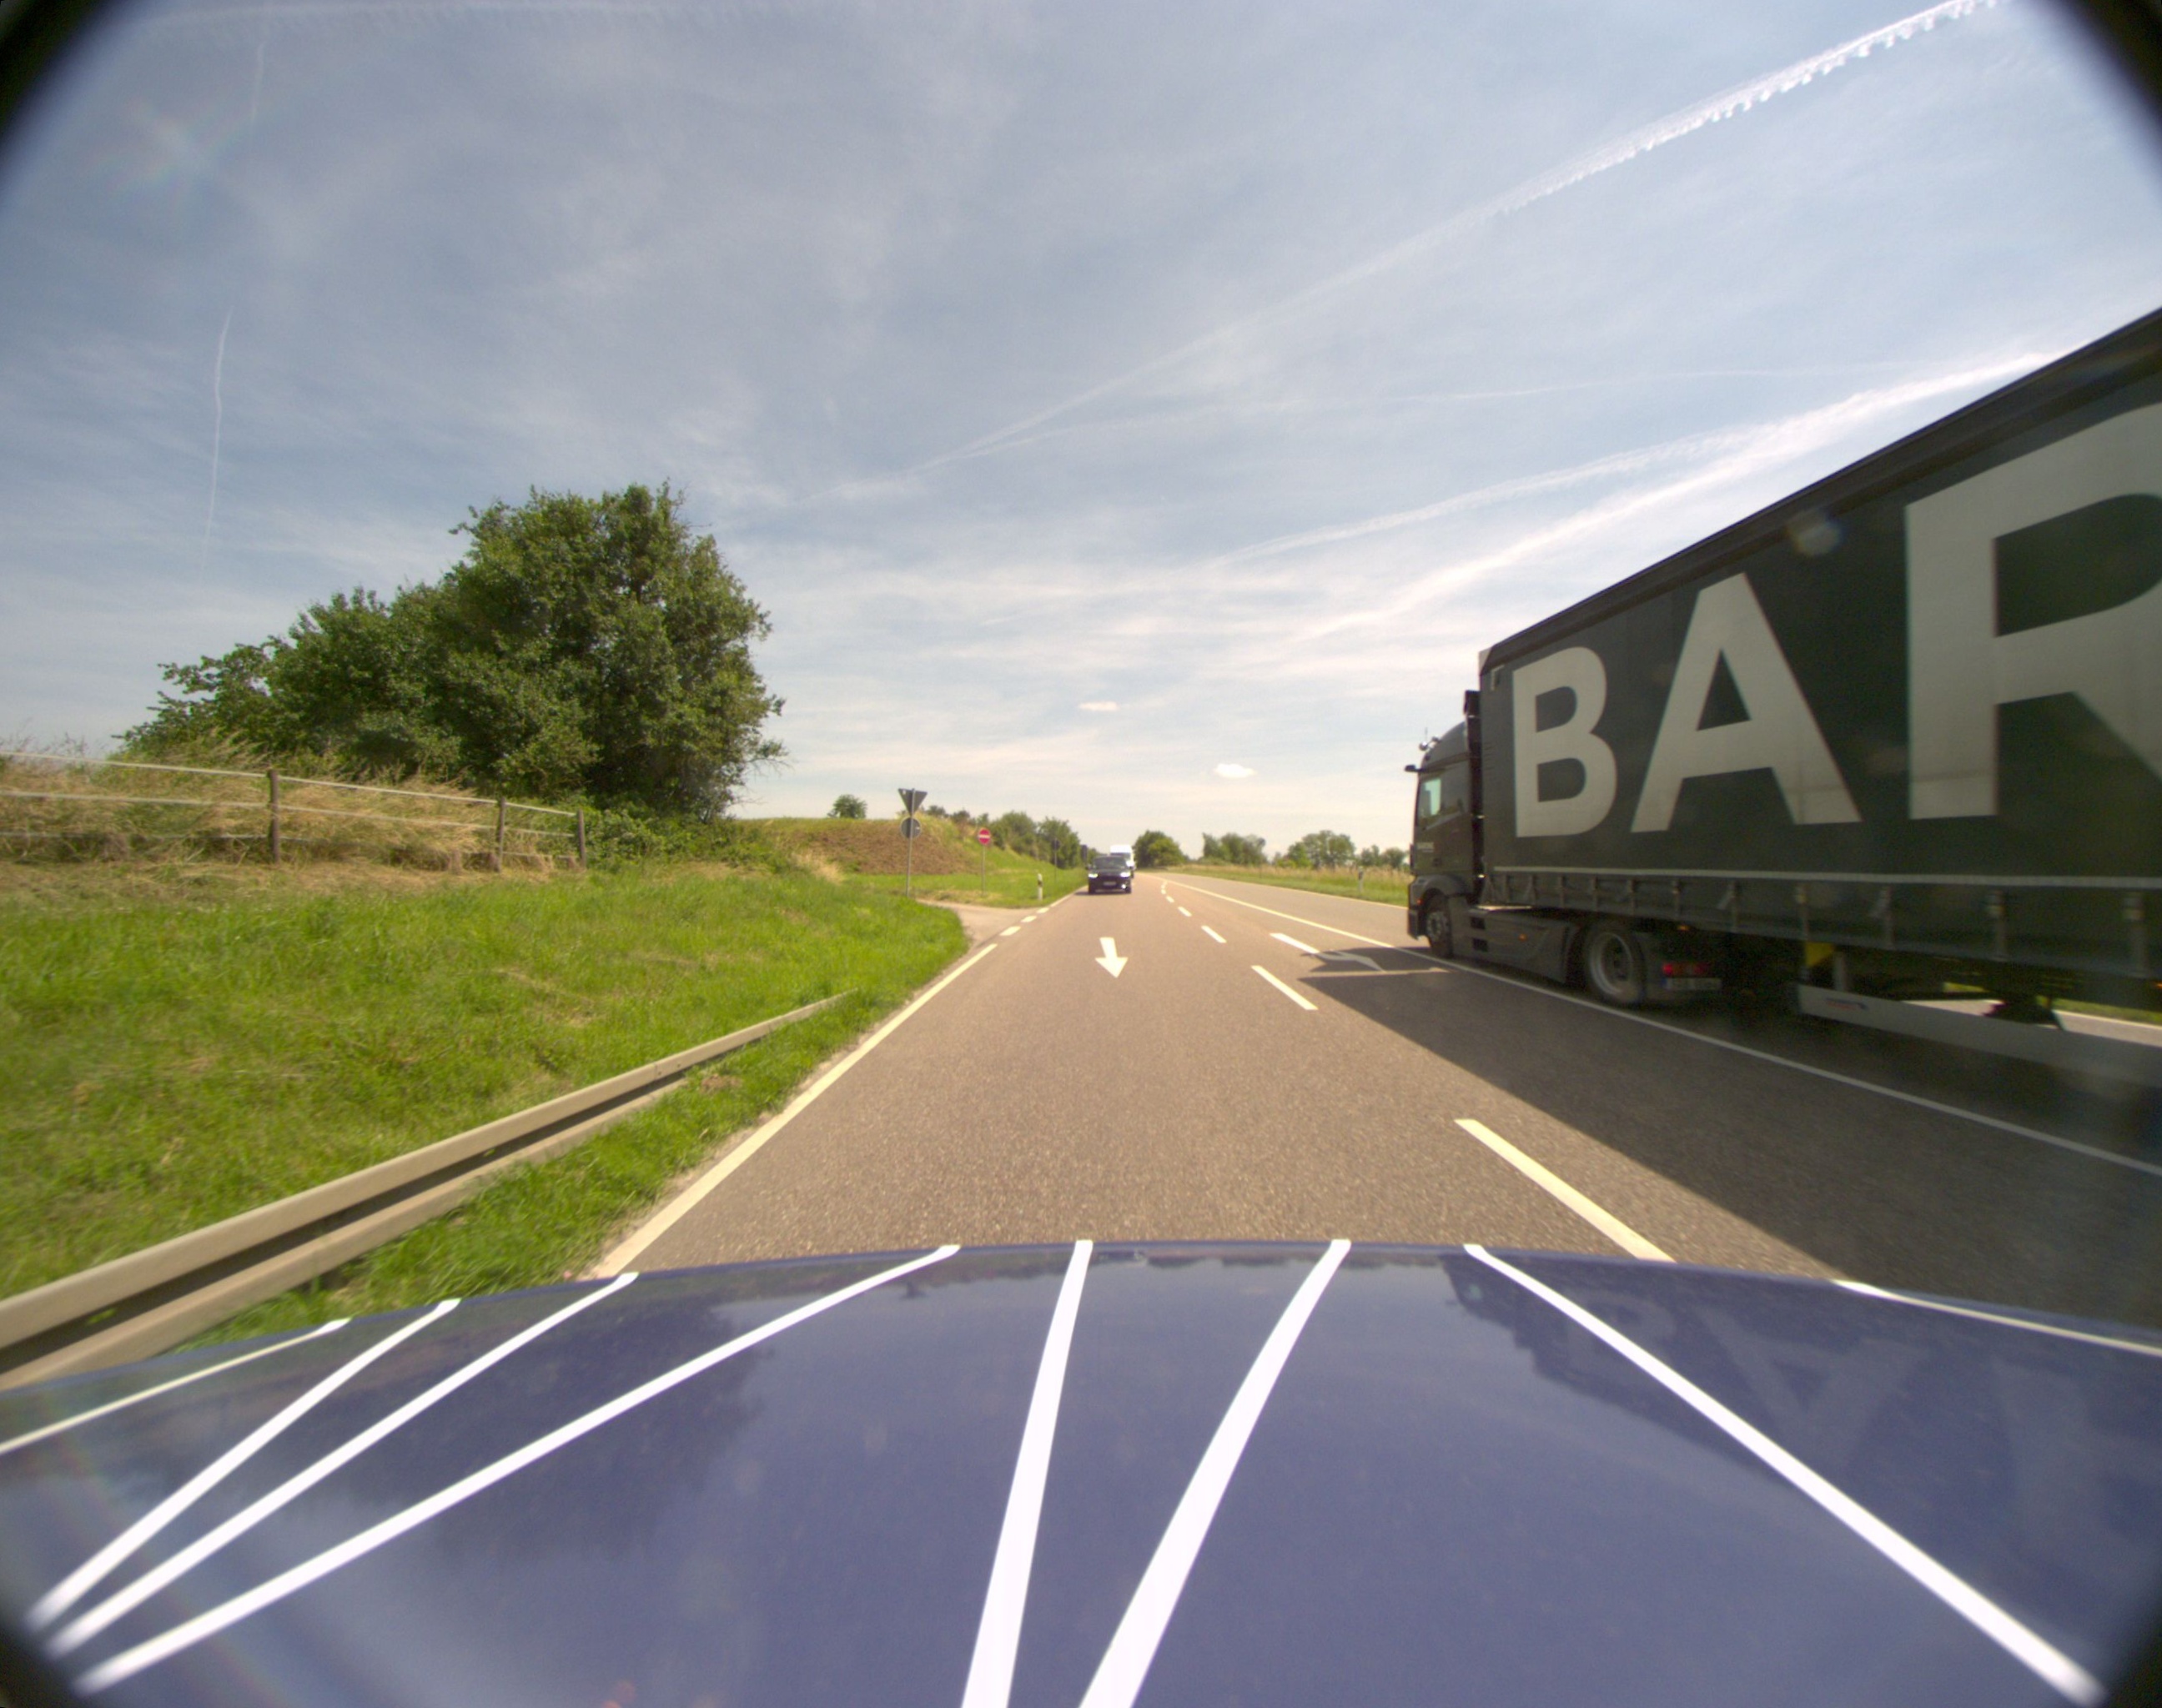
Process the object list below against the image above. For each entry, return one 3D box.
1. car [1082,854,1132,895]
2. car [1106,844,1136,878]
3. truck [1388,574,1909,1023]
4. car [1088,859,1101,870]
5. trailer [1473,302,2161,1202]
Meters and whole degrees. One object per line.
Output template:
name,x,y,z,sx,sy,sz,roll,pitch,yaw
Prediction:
car,1.245,0.874,34.478,2.038,1.691,5.514,-2,0,3
car,3.178,0.561,61.157,2.225,2.617,5.754,1,0,2
truck,6.294,-0.497,9.667,2.591,4.080,5.442,-1,0,1
car,2.259,1.815,131.008,2.039,1.641,4.742,0,1,-2
trailer,6.253,-0.474,2.701,2.599,4.118,13.740,-1,0,0
